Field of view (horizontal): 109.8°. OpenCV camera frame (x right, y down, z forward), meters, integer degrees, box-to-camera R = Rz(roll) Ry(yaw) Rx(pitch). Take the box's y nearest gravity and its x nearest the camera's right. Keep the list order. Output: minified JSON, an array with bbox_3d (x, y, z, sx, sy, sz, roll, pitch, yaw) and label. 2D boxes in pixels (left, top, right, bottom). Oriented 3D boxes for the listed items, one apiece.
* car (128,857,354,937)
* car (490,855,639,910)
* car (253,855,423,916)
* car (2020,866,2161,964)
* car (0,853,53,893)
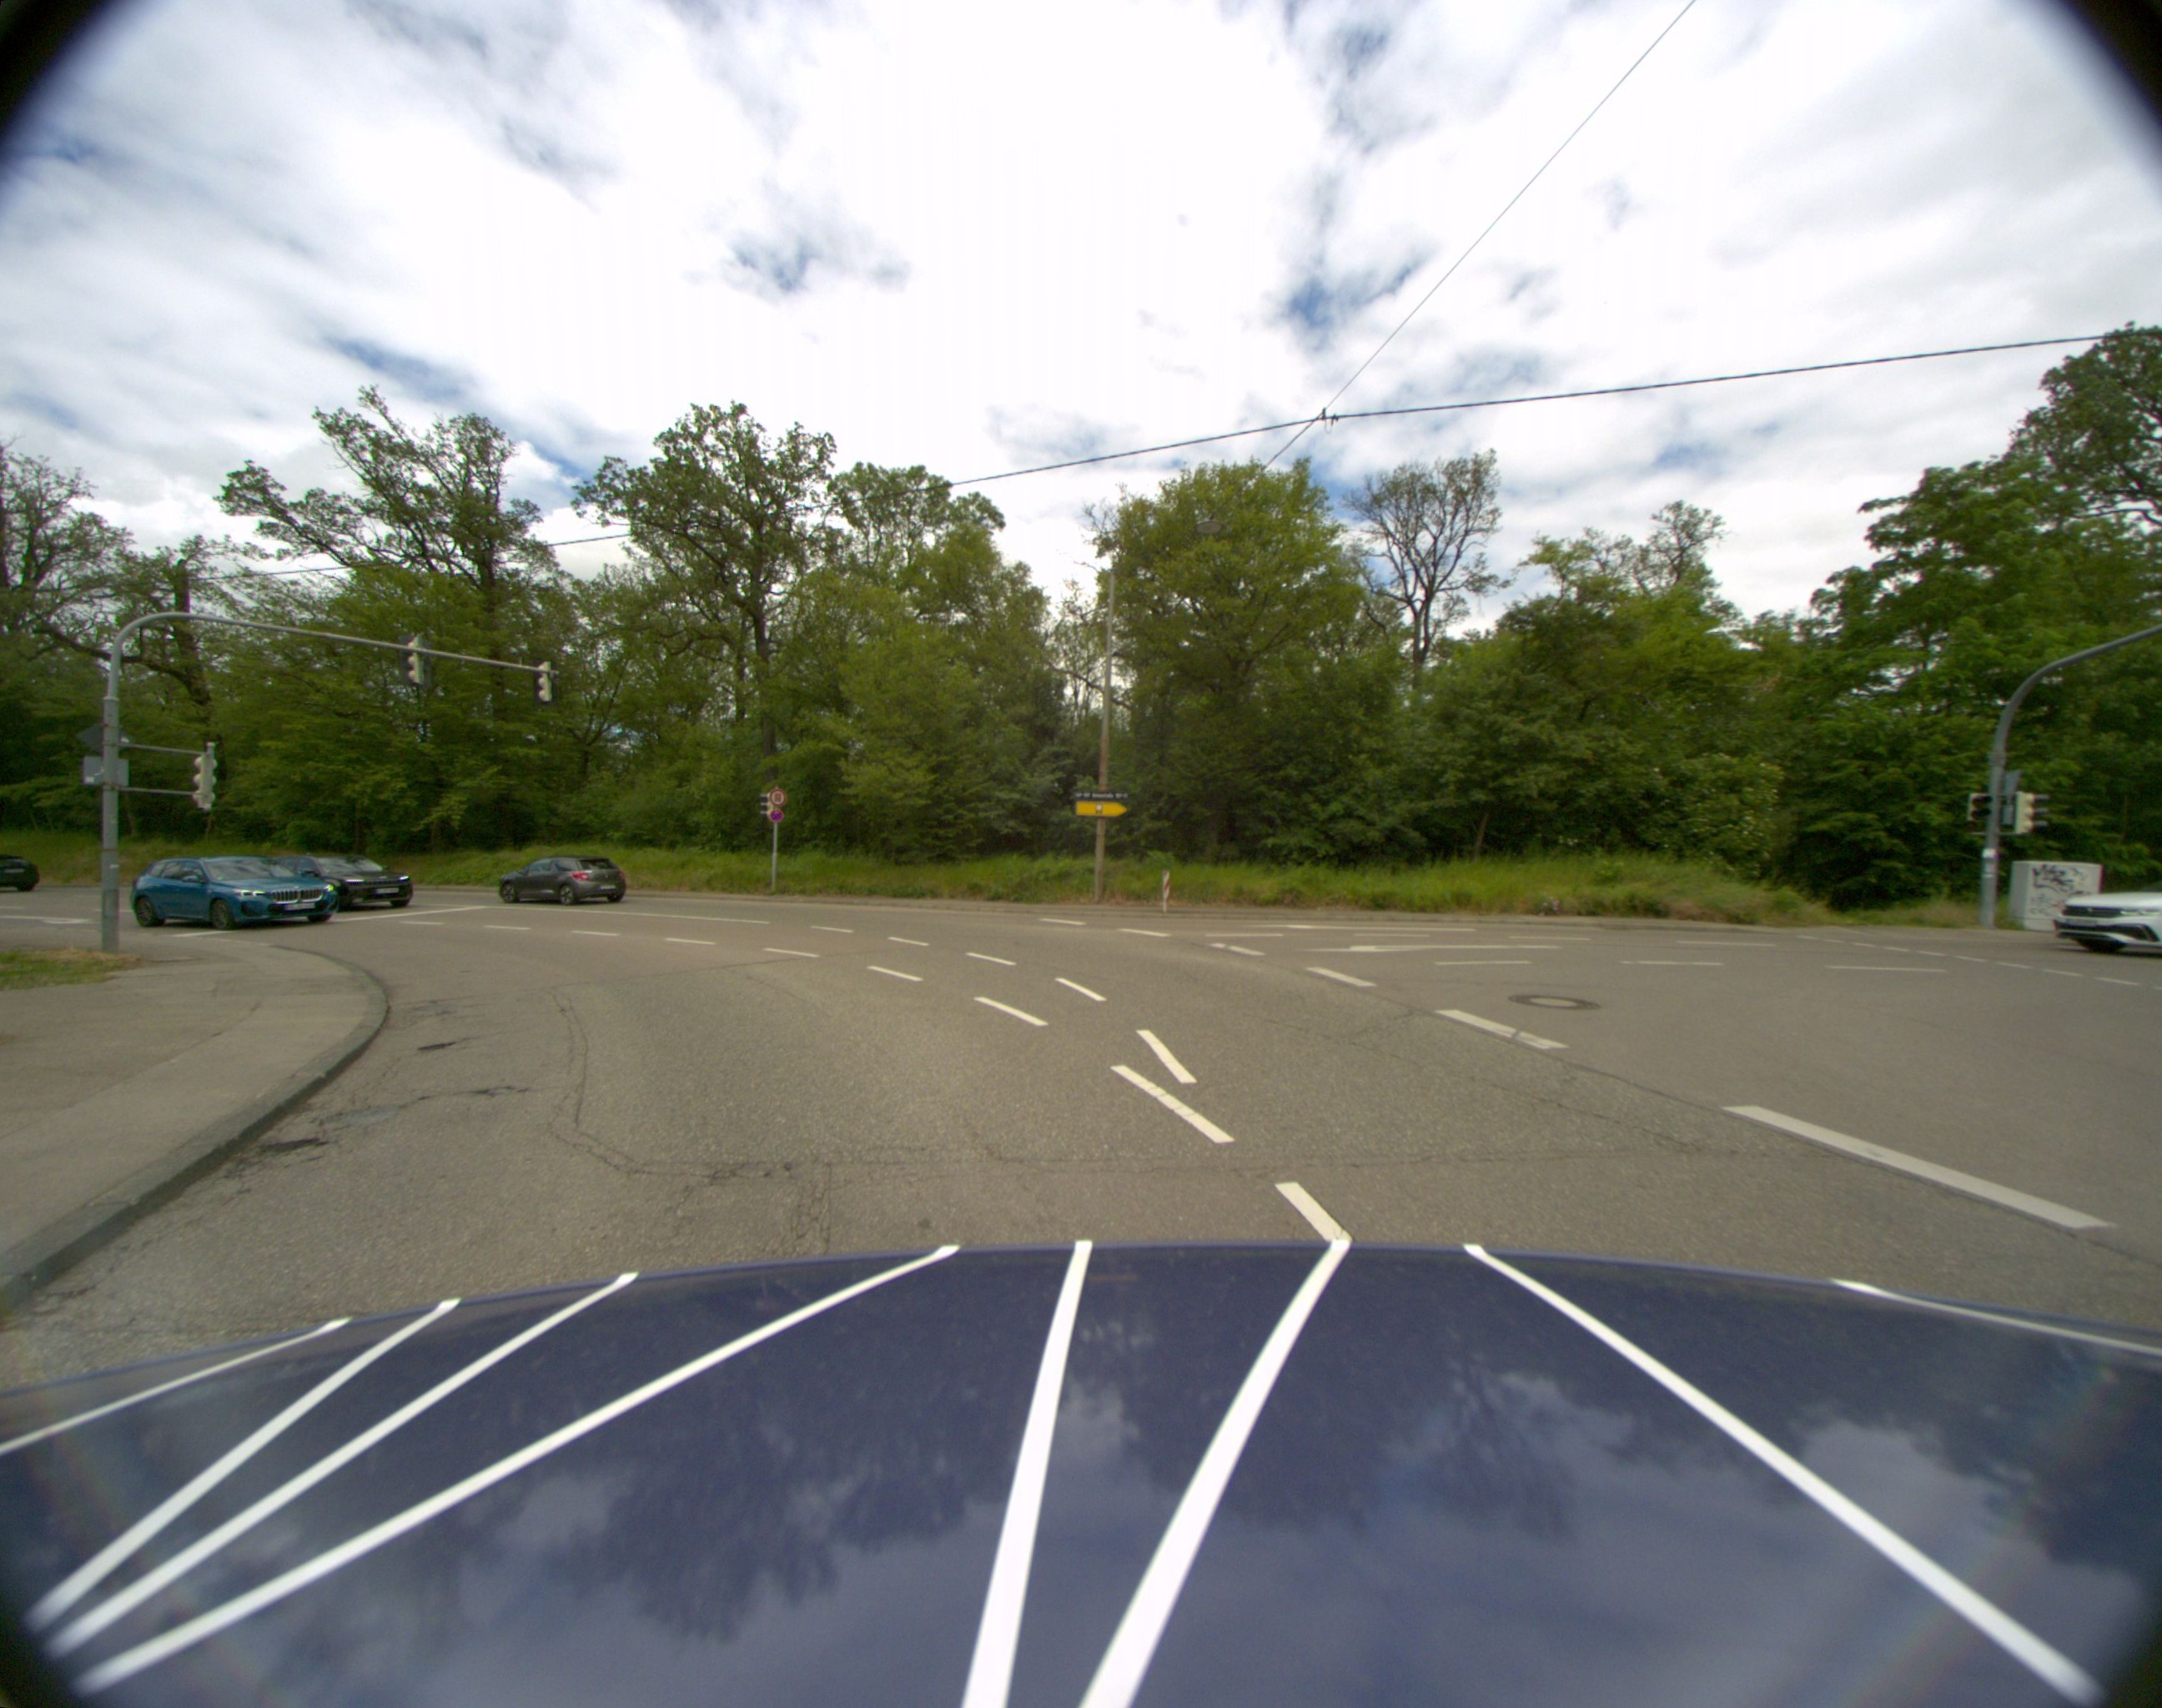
[{"bbox_3d":[-19.591,0.927,17.768,3.992,1.568,1.917,1,3,16],"label":"car"},{"bbox_3d":[-15.818,0.820,23.308,3.799,1.502,1.826,0,2,19],"label":"car"},{"bbox_3d":[-20.905,0.836,21.404,3.991,1.499,1.740,0,3,19],"label":"car"},{"bbox_3d":[19.975,1.085,13.007,4.644,1.618,1.867,2,0,16],"label":"car"},{"bbox_3d":[-41.270,0.701,28.721,3.991,1.438,1.707,0,1,19],"label":"car"}]
